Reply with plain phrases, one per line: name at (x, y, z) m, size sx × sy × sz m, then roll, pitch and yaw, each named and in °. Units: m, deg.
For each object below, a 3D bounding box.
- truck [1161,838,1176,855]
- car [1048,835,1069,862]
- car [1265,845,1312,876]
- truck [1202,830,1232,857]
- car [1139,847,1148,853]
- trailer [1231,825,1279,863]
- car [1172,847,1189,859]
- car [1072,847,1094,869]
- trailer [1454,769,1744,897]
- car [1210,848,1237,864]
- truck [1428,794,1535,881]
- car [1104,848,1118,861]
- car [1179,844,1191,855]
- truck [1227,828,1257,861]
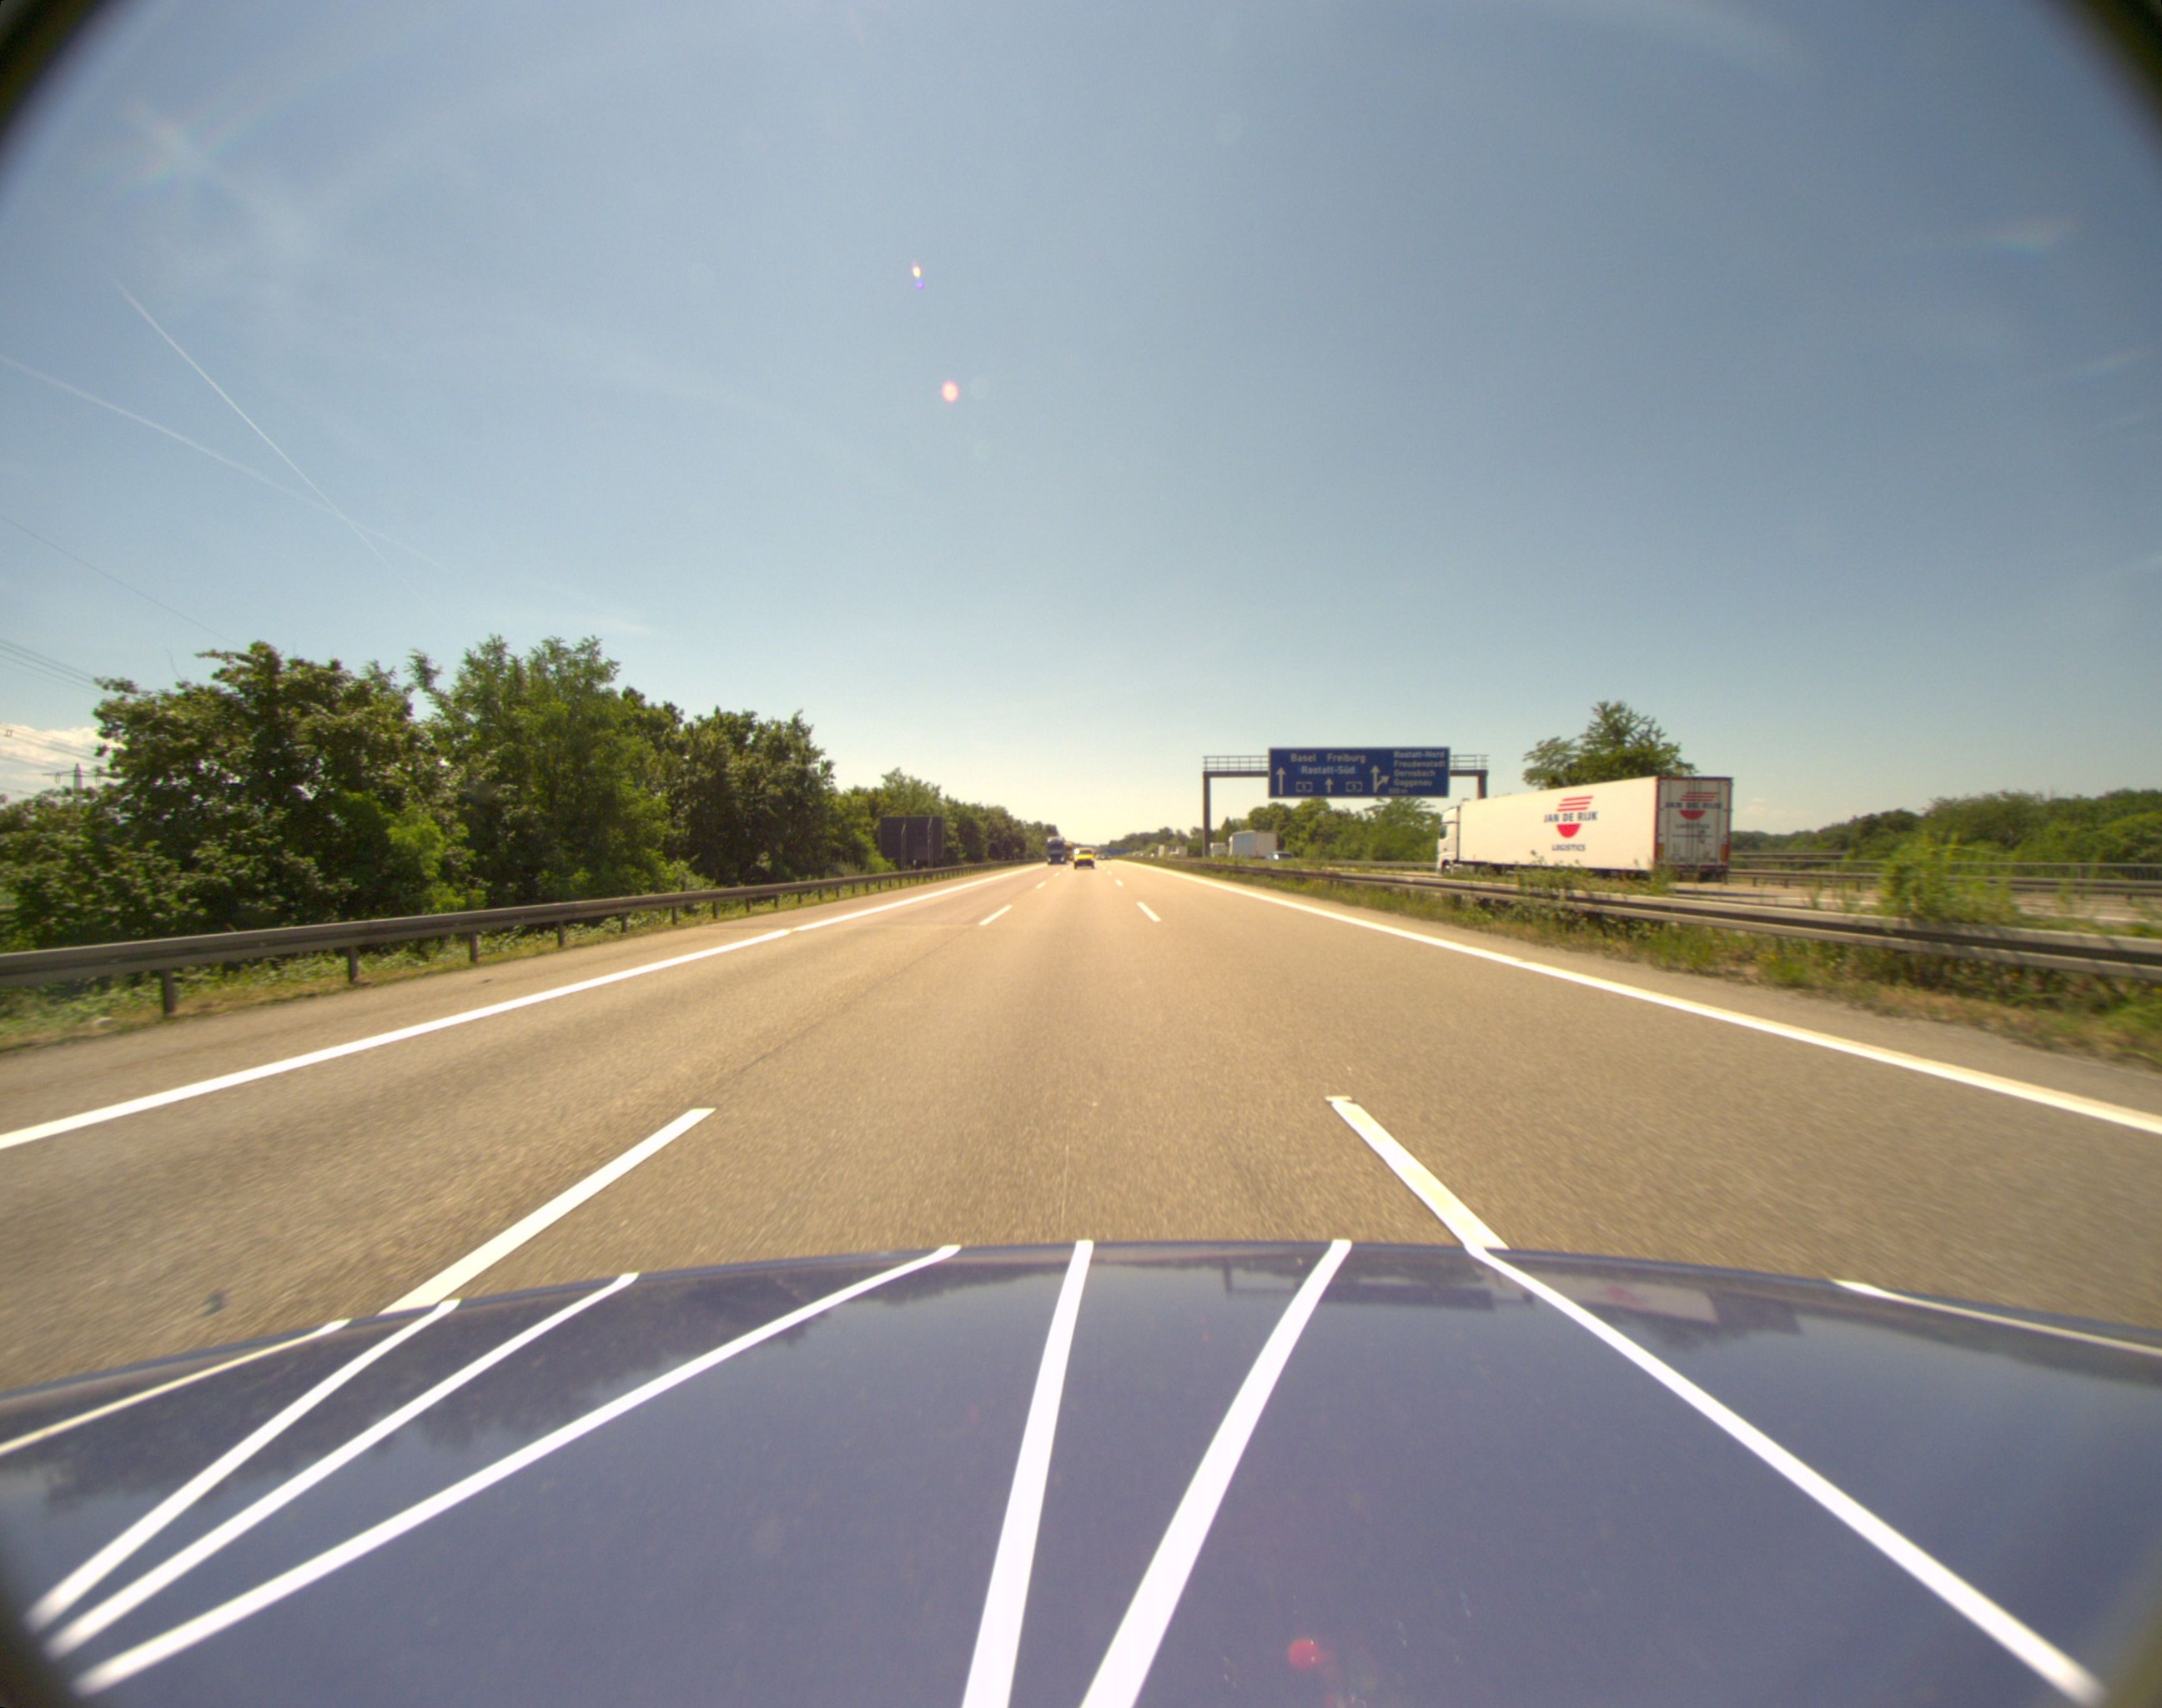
truck at (23.613, -1.991, 205.538) m, size 2.937 × 4.328 × 8.240 m, roll -2°, pitch 1°, yaw 1°
car at (-3.160, -0.843, 109.077) m, size 2.686 × 3.724 × 6.270 m, roll -1°, pitch 0°, yaw 1°
car at (13.299, 0.389, 48.870) m, size 1.998 × 1.880 × 4.000 m, roll -1°, pitch 0°, yaw 1°
truck at (22.259, -1.752, 124.959) m, size 3.243 × 4.111 × 8.606 m, roll -2°, pitch 1°, yaw 0°
car at (19.943, -1.270, 244.106) m, size 2.489 × 2.002 × 4.557 m, roll -2°, pitch 1°, yaw 1°
trailer at (21.352, -1.183, 94.163) m, size 2.750 × 4.282 × 13.947 m, roll -2°, pitch 1°, yaw 0°
car at (14.806, -0.119, 113.539) m, size 1.998 × 1.712 × 4.000 m, roll -1°, pitch 0°, yaw 1°
car at (0.251, 0.335, 71.585) m, size 1.955 × 2.002 × 5.432 m, roll -1°, pitch 0°, yaw 1°
trailer at (20.842, -0.762, 32.510) m, size 2.750 × 4.182 × 13.946 m, roll -2°, pitch 1°, yaw 0°
car at (14.224, 0.182, 76.035) m, size 1.998 × 1.628 × 4.000 m, roll -1°, pitch 0°, yaw 1°
truck at (20.825, -0.830, 39.891) m, size 2.750 × 4.182 × 5.295 m, roll -2°, pitch 1°, yaw 0°
car at (6.296, 0.119, 158.247) m, size 2.686 × 2.510 × 5.967 m, roll -1°, pitch 0°, yaw 1°
car at (24.644, -1.038, 180.034) m, size 2.370 × 2.522 × 4.518 m, roll -1°, pitch 0°, yaw 1°
truck at (21.404, -1.245, 101.256) m, size 2.750 × 4.278 × 5.055 m, roll -2°, pitch 1°, yaw 0°
